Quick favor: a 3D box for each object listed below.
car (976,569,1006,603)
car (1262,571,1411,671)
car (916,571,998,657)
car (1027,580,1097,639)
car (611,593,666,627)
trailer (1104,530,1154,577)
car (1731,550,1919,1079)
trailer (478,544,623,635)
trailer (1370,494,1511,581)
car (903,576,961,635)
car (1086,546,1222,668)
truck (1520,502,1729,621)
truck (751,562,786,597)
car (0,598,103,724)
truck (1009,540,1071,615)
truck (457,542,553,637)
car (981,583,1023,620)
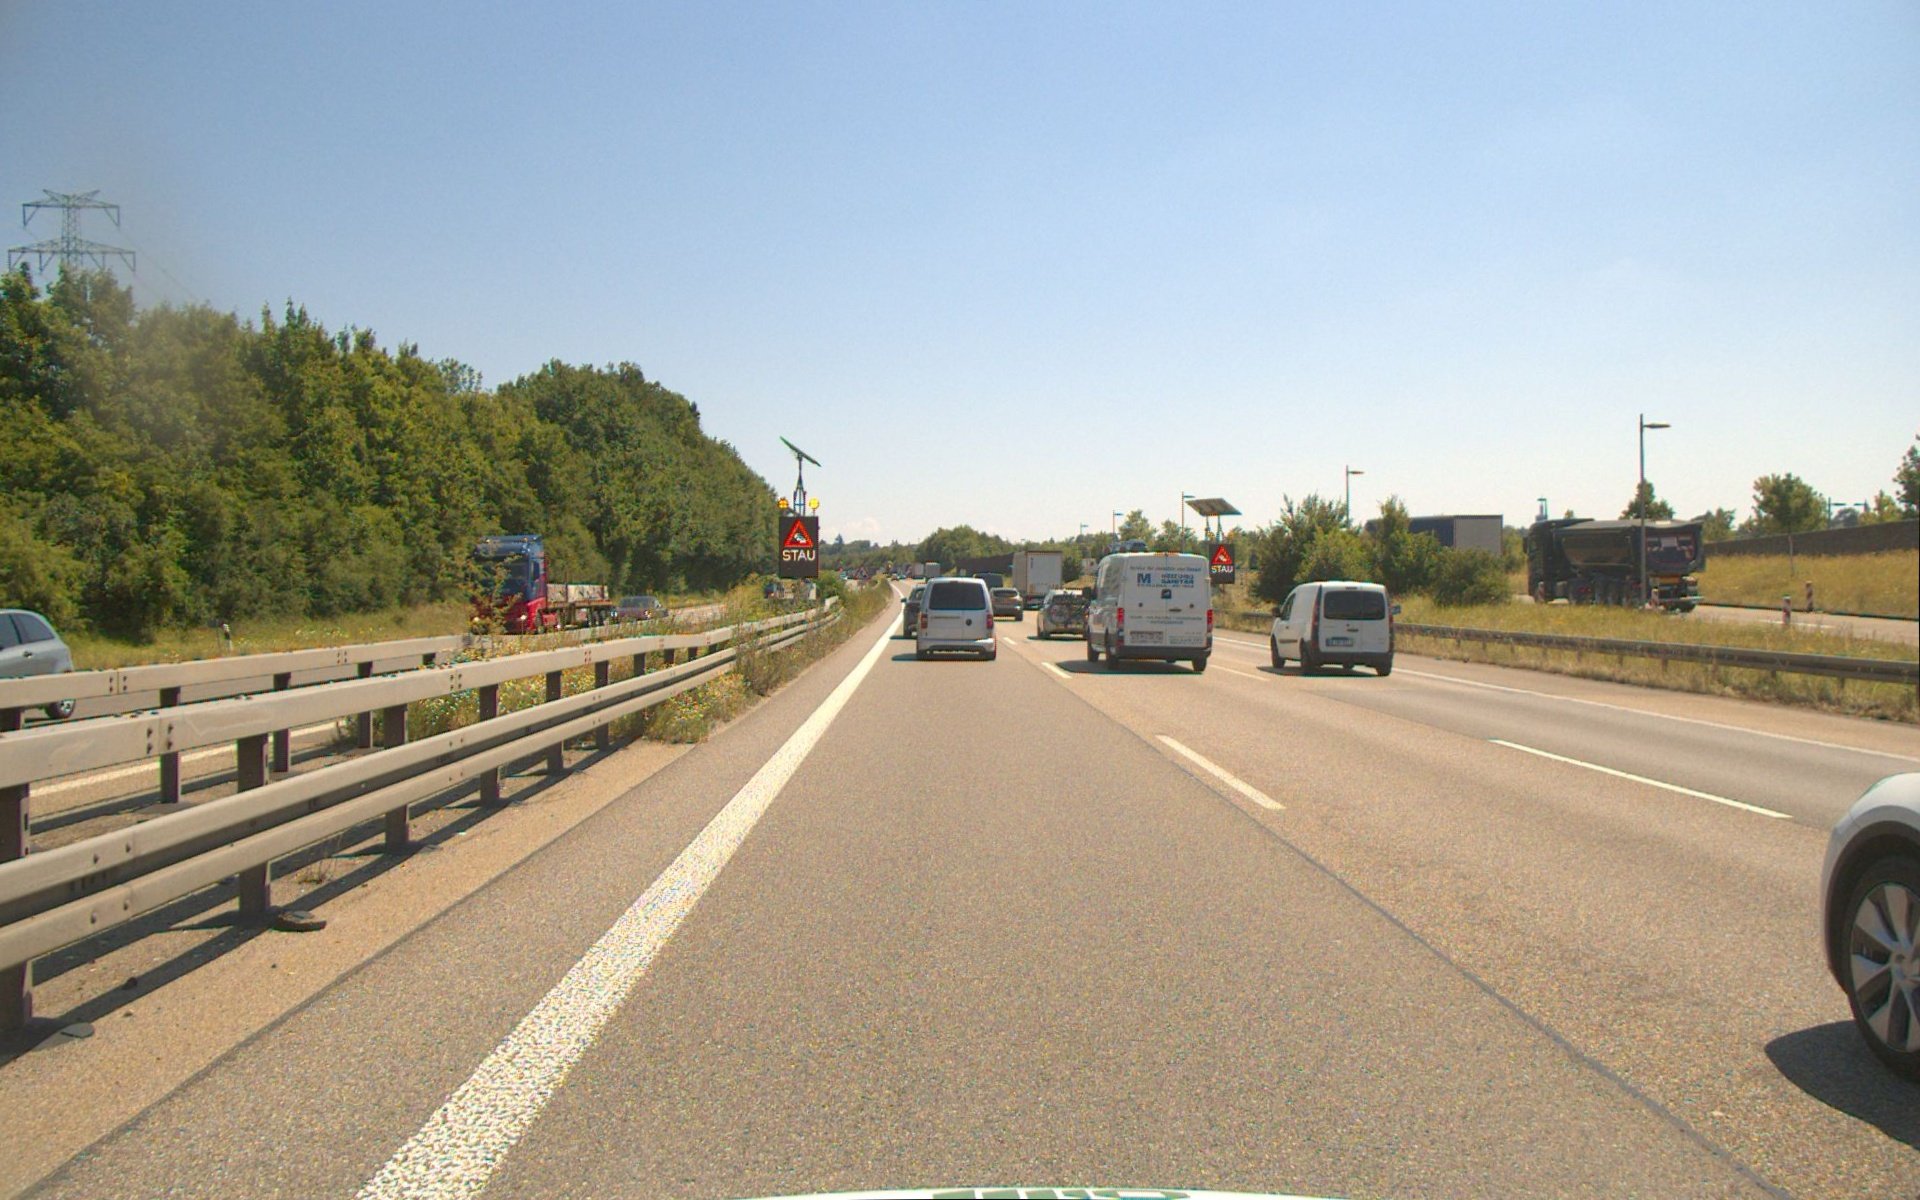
[{"bbox_3d":[1.812,-0.829,98.163,1.640,1.924,4.088,-1,0,0],"label":"car"},{"bbox_3d":[7.551,0.379,33.581,1.911,1.870,4.176,-1,0,-2],"label":"car"},{"bbox_3d":[-0.076,0.291,37.311,1.709,1.795,4.088,-1,0,0],"label":"car"},{"bbox_3d":[3.195,0.284,52.498,1.935,1.763,4.088,-1,0,0],"label":"car"},{"bbox_3d":[-13.806,0.395,71.314,1.735,1.357,4.917,-2,1,-5],"label":"car"},{"bbox_3d":[16.992,-4.592,167.819,2.553,4.332,18.415,1,0,-2],"label":"trailer"},{"bbox_3d":[4.009,0.683,3.643,1.911,1.665,5.599,0,0,-1],"label":"car"},{"bbox_3d":[-18.213,-0.482,74.957,2.935,3.620,16.019,-1,0,-2],"label":"trailer"},{"bbox_3d":[25.635,-3.205,89.254,2.991,4.154,14.253,1,0,-2],"label":"trailer"},{"bbox_3d":[-0.834,0.159,51.524,1.709,1.731,4.088,-1,0,0],"label":"car"},{"bbox_3d":[3.908,0.120,34.206,2.137,2.293,5.363,1,0,0],"label":"car"},{"bbox_3d":[25.646,-1.389,64.856,3.709,4.154,12.523,1,0,3],"label":"truck"},{"bbox_3d":[-21.777,-2.345,188.550,2.935,3.868,10.786,-1,0,-2],"label":"truck"},{"bbox_3d":[-12.790,0.808,21.045,1.746,1.557,3.882,-3,0,-2],"label":"car"},{"bbox_3d":[5.680,-1.572,119.690,3.711,5.087,12.517,1,0,0],"label":"truck"},{"bbox_3d":[-17.961,-0.408,65.410,2.935,3.621,3.117,-1,0,-2],"label":"truck"},{"bbox_3d":[2.025,0.062,80.309,1.863,1.701,4.088,-1,0,0],"label":"car"}]
